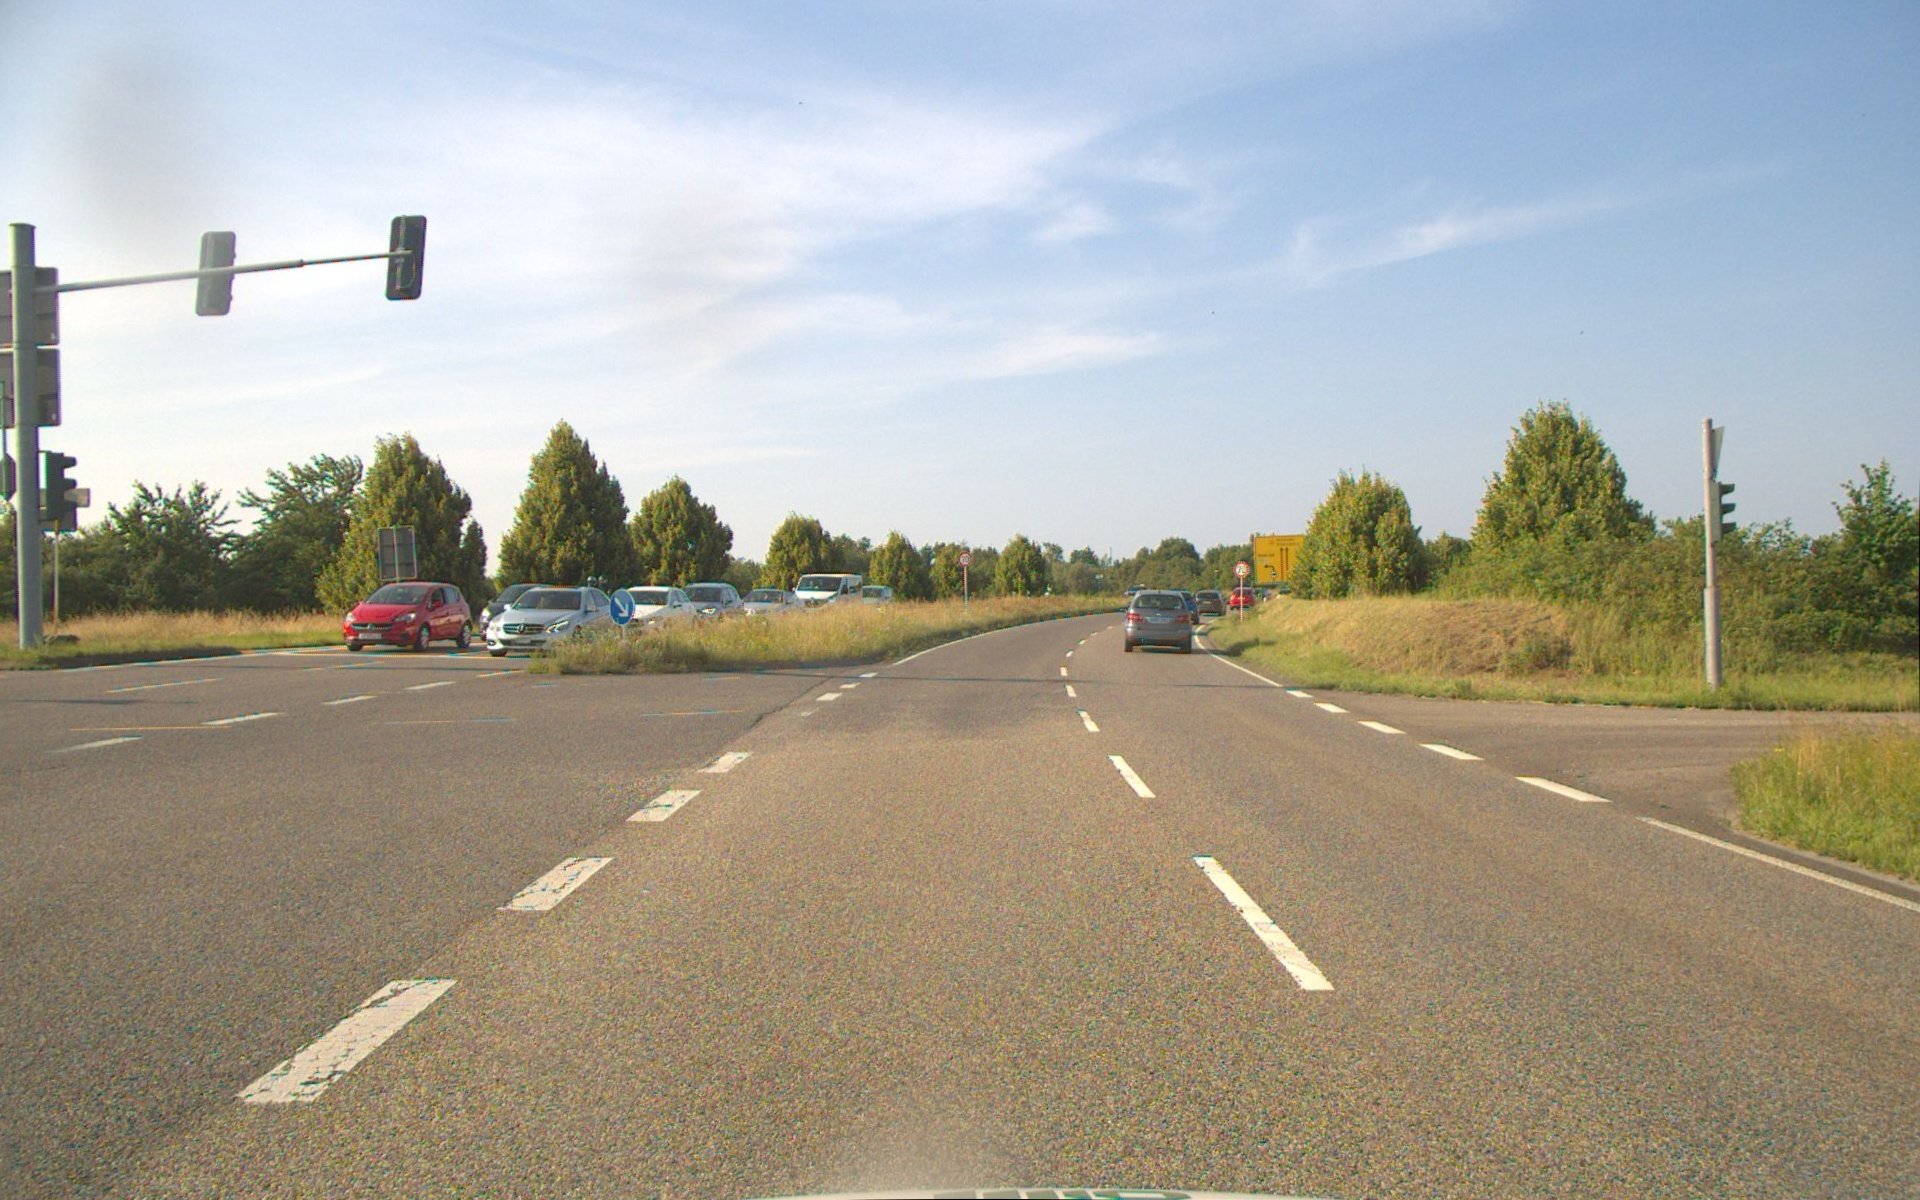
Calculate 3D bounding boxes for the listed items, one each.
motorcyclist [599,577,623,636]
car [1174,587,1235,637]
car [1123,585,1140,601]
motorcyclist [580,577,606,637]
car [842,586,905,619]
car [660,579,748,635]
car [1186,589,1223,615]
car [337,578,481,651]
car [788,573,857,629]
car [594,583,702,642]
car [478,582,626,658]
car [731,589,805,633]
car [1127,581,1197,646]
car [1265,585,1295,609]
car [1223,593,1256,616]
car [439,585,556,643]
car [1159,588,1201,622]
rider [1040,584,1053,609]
[{"bbox_3d":[-10.987,0.196,52.125,0.649,1.849,0.605,0,0,-4],"label":"motorcyclist"},{"bbox_3d":[8.355,0.395,56.192,1.771,1.593,4.535,0,0,12],"label":"car"},{"bbox_3d":[16.066,-0.636,154.598,1.375,1.426,3.425,-1,0,10],"label":"car"},{"bbox_3d":[-10.910,0.199,49.165,0.649,1.778,0.605,0,0,-4],"label":"motorcyclist"},{"bbox_3d":[-3.799,0.103,73.242,1.748,1.410,4.055,-1,0,13],"label":"car"},{"bbox_3d":[-7.595,0.191,49.320,1.748,1.596,4.053,-1,0,3],"label":"car"},{"bbox_3d":[14.218,0.116,96.126,1.874,1.440,3.798,0,-1,12],"label":"car"},{"bbox_3d":[-12.213,0.302,36.914,1.684,1.514,3.806,-1,0,4],"label":"car"},{"bbox_3d":[-5.348,0.041,64.896,1.884,2.114,4.246,-1,0,7],"label":"car"},{"bbox_3d":[-8.041,0.305,43.039,1.748,1.458,4.311,-1,0,4],"label":"car"},{"bbox_3d":[-8.623,0.394,35.361,1.748,1.514,4.653,-1,0,4],"label":"car"},{"bbox_3d":[-6.391,0.358,55.492,1.748,1.410,4.053,-1,0,3],"label":"car"},{"bbox_3d":[5.390,0.389,43.983,1.746,1.633,4.199,0,-1,8],"label":"car"},{"bbox_3d":[26.469,-0.231,136.590,1.869,1.831,4.279,0,-1,19],"label":"car"},{"bbox_3d":[20.025,0.335,118.432,1.855,1.592,4.280,0,-1,15],"label":"car"},{"bbox_3d":[-12.217,0.359,43.911,1.748,1.458,4.053,-1,0,3],"label":"car"},{"bbox_3d":[10.119,0.211,75.962,1.735,1.518,3.988,0,0,10],"label":"car"},{"bbox_3d":[6.896,-0.286,132.090,0.849,2.049,0.772,0,0,15],"label":"rider"}]
